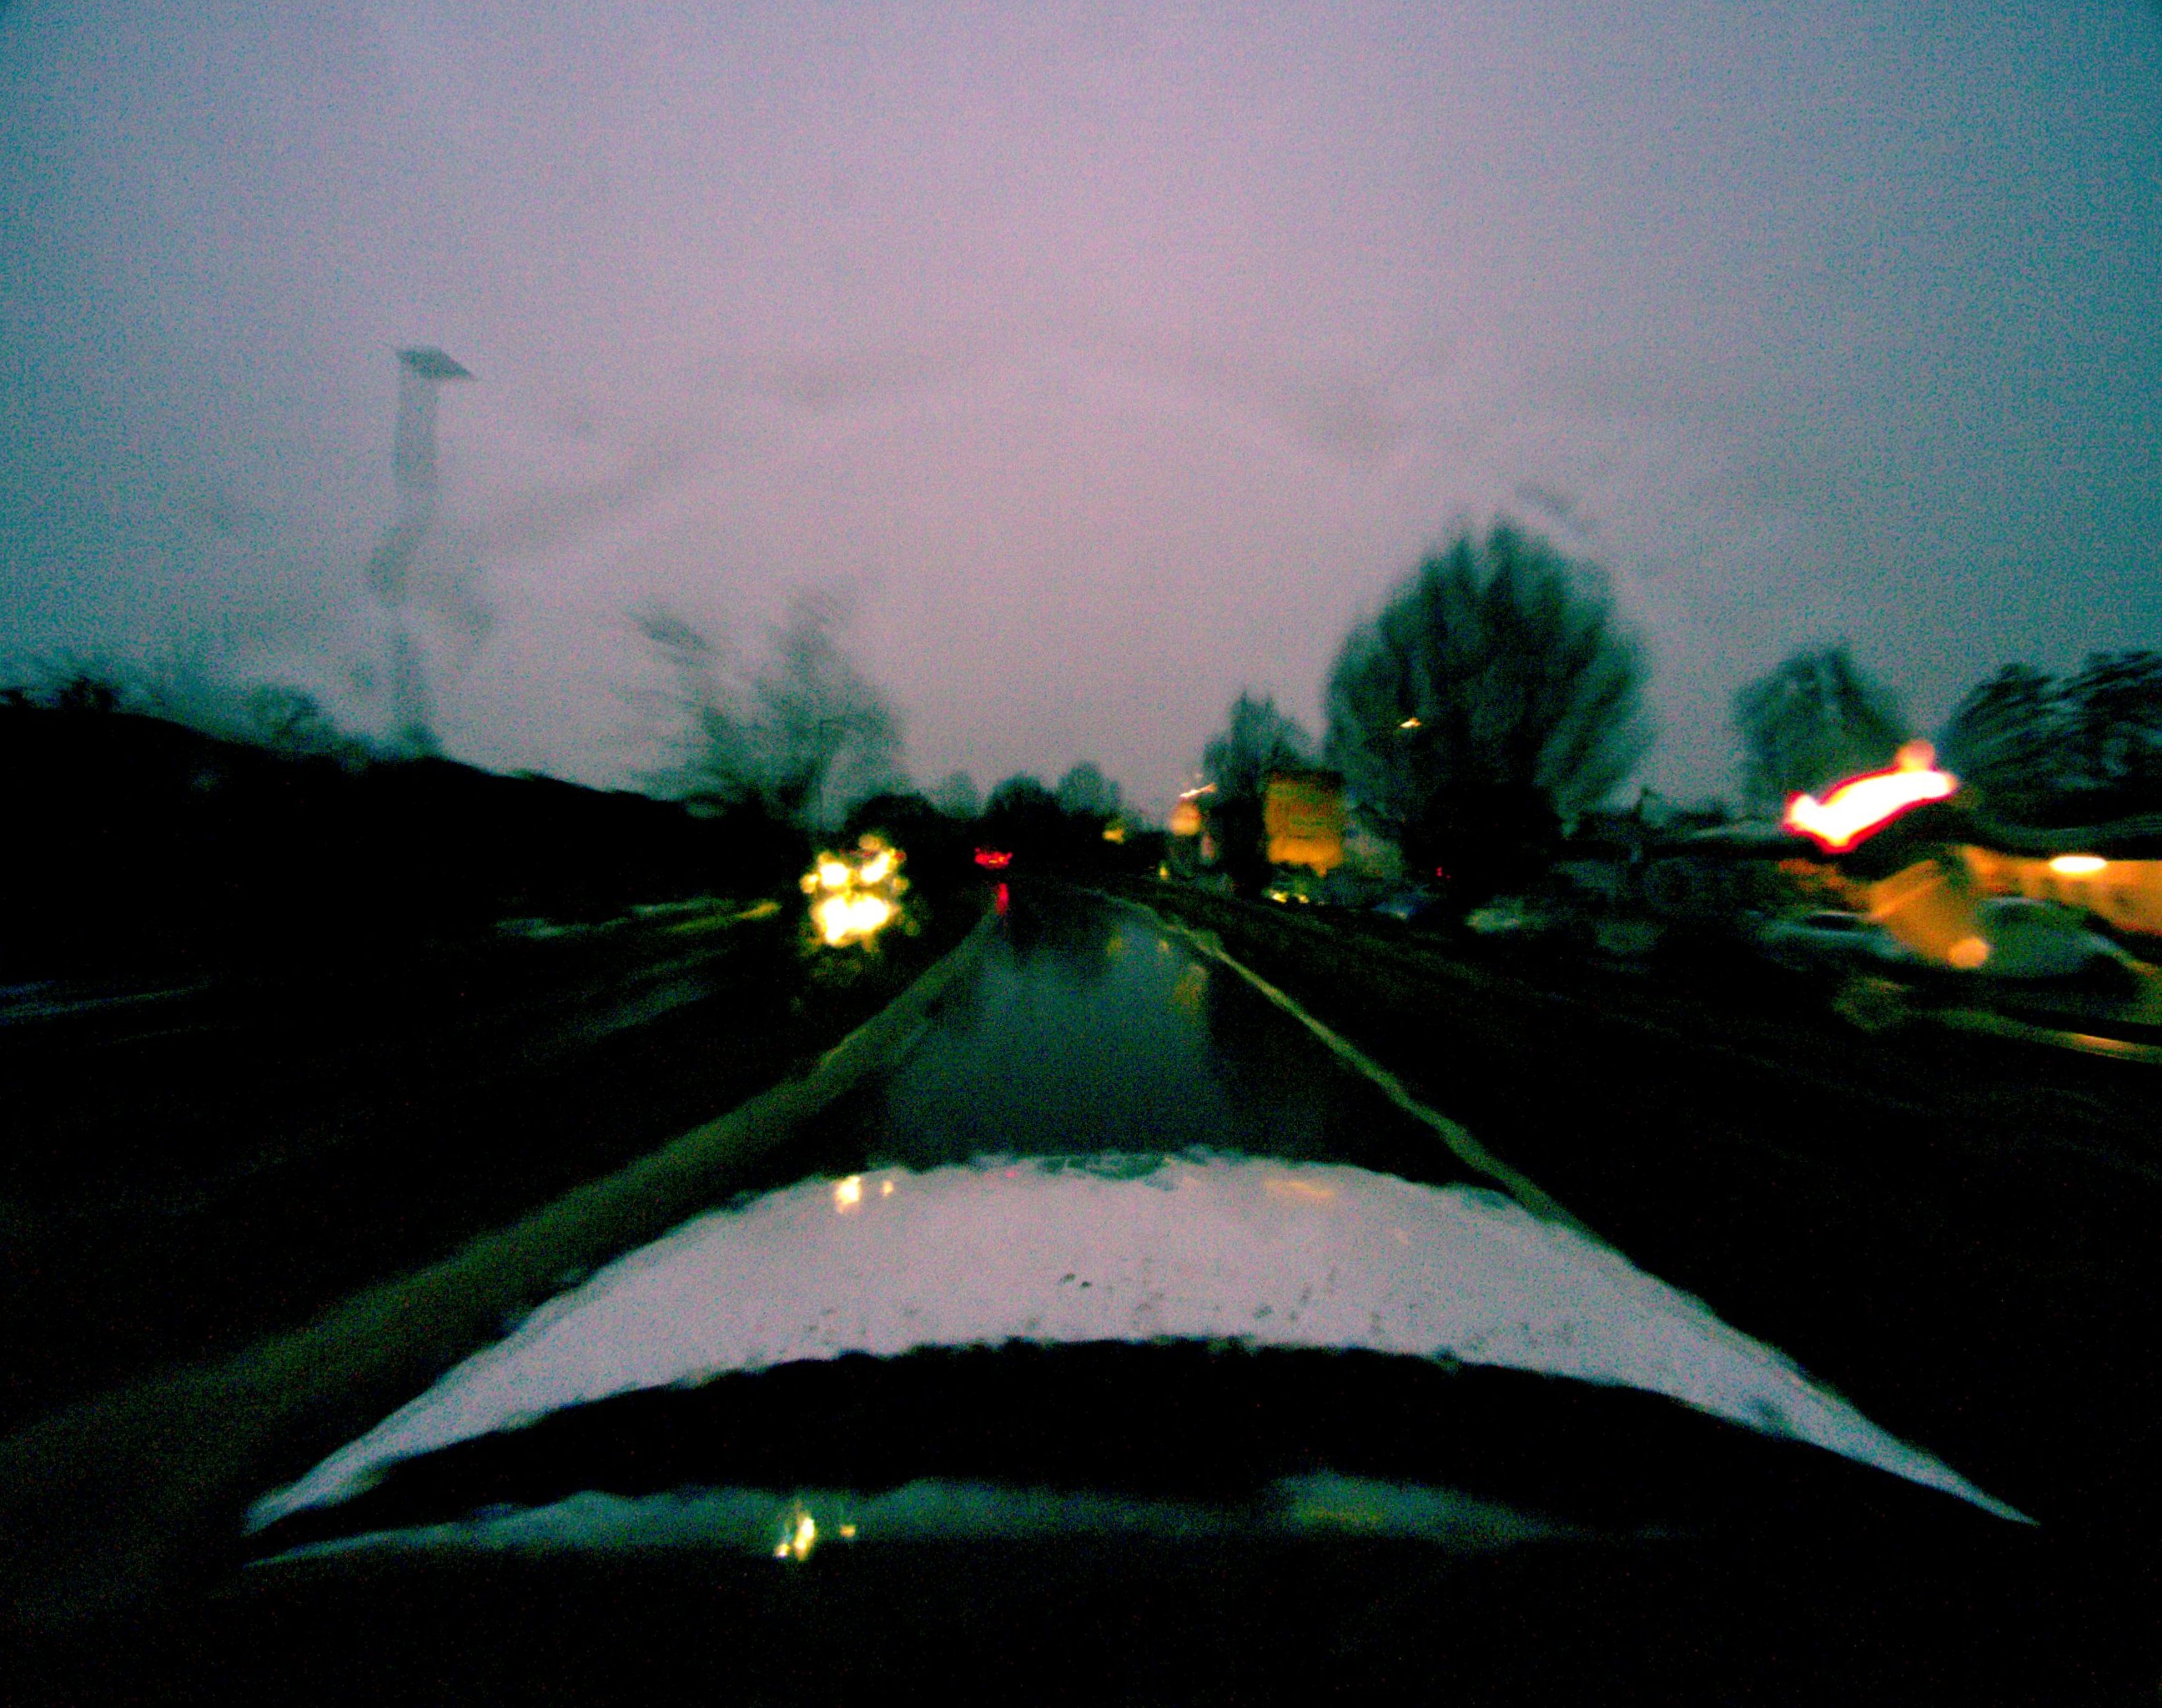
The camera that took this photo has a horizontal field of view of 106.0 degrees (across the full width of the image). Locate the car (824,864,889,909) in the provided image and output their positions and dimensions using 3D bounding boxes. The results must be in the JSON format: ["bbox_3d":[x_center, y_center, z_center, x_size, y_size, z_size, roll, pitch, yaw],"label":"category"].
[{"bbox_3d":[-8.363,1.163,30.686,1.691,1.578,3.877,0,-1,-5],"label":"car"}]

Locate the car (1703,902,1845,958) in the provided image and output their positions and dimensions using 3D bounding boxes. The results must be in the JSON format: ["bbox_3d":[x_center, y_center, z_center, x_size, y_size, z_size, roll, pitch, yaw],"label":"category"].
[{"bbox_3d":[23.877,2.557,28.132,1.608,1.585,3.588,1,0,-44],"label":"car"}]

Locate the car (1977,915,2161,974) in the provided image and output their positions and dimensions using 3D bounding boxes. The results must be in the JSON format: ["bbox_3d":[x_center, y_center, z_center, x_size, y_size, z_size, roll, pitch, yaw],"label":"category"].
[{"bbox_3d":[28.958,2.603,23.797,3.587,1.346,1.609,0,0,43],"label":"car"}]

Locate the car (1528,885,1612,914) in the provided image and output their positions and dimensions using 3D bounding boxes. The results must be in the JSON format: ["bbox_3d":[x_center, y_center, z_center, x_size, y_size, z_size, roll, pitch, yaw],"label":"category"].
[{"bbox_3d":[26.819,2.478,44.738,3.790,1.352,1.579,0,0,38],"label":"car"}]

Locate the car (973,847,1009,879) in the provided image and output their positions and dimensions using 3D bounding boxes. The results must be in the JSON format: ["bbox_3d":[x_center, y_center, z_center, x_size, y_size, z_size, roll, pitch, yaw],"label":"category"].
[{"bbox_3d":[-5.150,0.508,46.651,1.942,1.718,3.990,1,-1,-7],"label":"car"}]

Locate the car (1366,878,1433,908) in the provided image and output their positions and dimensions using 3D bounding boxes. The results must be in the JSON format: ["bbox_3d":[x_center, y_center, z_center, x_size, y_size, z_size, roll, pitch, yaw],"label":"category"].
[{"bbox_3d":[21.815,2.660,55.862,3.984,1.868,1.734,0,0,39],"label":"car"}]

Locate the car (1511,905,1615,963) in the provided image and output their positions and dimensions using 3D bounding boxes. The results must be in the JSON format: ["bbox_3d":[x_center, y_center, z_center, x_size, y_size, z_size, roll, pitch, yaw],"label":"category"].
[{"bbox_3d":[15.277,2.448,25.745,4.204,1.396,1.828,0,0,-45],"label":"car"}]

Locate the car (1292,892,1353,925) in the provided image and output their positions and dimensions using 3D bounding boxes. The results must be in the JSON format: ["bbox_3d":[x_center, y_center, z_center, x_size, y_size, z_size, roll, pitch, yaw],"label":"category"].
[{"bbox_3d":[12.518,2.783,42.110,1.611,1.420,4.025,0,0,39],"label":"car"}]

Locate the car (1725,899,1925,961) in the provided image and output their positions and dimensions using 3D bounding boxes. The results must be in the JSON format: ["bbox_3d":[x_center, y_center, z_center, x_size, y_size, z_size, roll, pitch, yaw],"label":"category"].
[{"bbox_3d":[23.032,2.301,25.443,4.485,1.535,1.817,0,0,41],"label":"car"}]

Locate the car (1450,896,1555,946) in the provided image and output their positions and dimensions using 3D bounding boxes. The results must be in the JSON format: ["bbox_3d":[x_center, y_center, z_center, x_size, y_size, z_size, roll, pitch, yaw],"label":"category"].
[{"bbox_3d":[14.953,2.300,28.761,4.731,1.396,1.881,0,0,-44],"label":"car"}]

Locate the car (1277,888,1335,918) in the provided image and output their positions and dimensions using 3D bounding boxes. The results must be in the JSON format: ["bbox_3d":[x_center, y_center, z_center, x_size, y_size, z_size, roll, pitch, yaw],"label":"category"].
[{"bbox_3d":[12.536,2.713,45.278,1.611,1.420,4.025,0,0,39],"label":"car"}]

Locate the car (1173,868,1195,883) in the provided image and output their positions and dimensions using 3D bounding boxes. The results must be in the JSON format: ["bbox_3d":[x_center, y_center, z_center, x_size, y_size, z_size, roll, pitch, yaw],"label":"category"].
[{"bbox_3d":[11.007,2.305,87.029,1.929,1.547,4.002,0,0,2],"label":"car"}]

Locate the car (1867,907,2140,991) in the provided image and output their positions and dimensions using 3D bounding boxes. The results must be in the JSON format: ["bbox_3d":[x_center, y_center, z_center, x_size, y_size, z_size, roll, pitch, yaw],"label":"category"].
[{"bbox_3d":[23.893,2.391,21.402,4.412,1.639,1.838,2,1,35],"label":"car"}]

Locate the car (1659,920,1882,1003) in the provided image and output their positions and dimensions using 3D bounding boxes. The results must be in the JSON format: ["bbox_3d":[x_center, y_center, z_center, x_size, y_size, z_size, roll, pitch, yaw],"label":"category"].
[{"bbox_3d":[15.721,2.381,18.855,1.765,1.429,3.805,0,-1,-5],"label":"car"}]

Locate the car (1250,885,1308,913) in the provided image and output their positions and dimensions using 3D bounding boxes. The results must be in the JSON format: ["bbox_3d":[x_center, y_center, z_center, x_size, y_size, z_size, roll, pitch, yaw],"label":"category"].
[{"bbox_3d":[11.834,2.645,48.460,1.774,1.439,4.025,0,0,39],"label":"car"}]

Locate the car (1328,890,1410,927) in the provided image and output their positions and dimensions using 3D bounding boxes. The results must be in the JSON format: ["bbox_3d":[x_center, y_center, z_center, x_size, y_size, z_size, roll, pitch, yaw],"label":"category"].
[{"bbox_3d":[13.490,2.504,38.047,1.907,1.455,4.615,-1,-1,43],"label":"car"}]

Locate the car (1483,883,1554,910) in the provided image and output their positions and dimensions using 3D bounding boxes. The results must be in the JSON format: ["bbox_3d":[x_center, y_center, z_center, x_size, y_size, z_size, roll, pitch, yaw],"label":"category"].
[{"bbox_3d":[27.426,2.631,51.058,3.789,1.500,1.579,0,0,33],"label":"car"}]

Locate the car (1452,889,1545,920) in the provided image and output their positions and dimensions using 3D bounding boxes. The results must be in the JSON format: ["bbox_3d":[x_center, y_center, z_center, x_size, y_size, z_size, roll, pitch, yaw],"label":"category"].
[{"bbox_3d":[22.773,2.721,44.497,4.261,1.425,1.757,0,0,42],"label":"car"}]

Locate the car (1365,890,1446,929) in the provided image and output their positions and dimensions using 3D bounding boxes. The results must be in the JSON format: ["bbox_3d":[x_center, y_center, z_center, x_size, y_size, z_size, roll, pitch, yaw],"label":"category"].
[{"bbox_3d":[14.183,2.380,35.451,1.880,1.396,4.205,-1,0,43],"label":"car"}]
